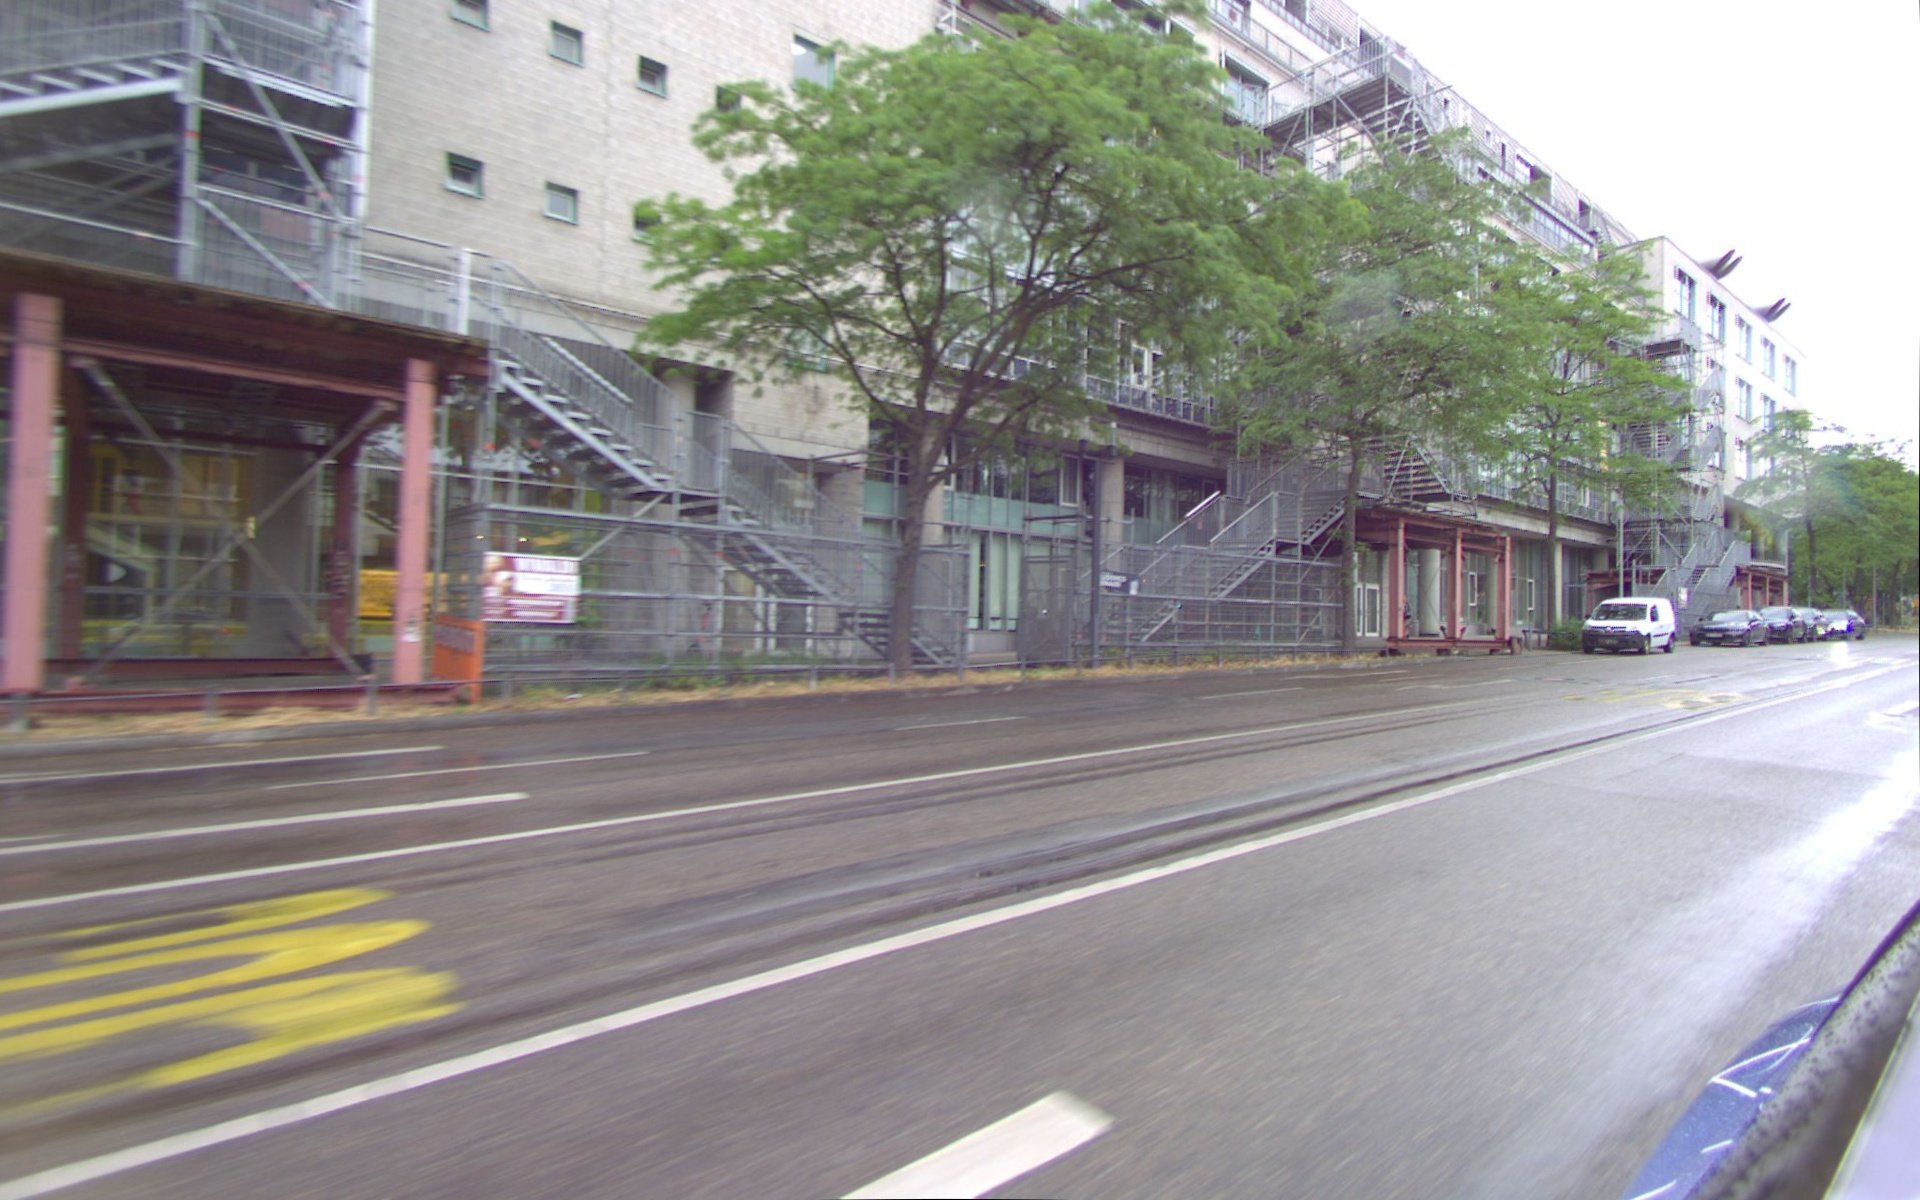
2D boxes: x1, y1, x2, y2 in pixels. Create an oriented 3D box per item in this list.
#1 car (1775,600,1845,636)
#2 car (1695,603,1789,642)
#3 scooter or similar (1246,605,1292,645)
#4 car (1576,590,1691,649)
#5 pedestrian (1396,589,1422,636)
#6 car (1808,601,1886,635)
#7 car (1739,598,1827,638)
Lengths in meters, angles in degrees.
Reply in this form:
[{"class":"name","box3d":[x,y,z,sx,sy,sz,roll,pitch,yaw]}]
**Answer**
[{"class":"car","box3d":[39.971,0.825,47.554,4.512,1.621,1.865,1,0,-41]},{"class":"car","box3d":[30.827,0.864,39.850,4.831,1.456,1.873,1,0,-39]},{"class":"scooter or similar","box3d":[9.362,0.739,30.621,1.520,1.176,0.632,1,0,-41]},{"class":"car","box3d":[21.784,0.596,32.677,4.447,1.772,1.997,1,0,-41]},{"class":"pedestrian","box3d":[17.253,0.482,38.903,0.641,1.764,0.678,1,0,-38]},{"class":"car","box3d":[44.696,0.881,50.975,5.191,1.621,1.999,1,0,-38]},{"class":"car","box3d":[35.937,0.764,44.148,4.773,1.667,1.998,1,0,-39]}]
